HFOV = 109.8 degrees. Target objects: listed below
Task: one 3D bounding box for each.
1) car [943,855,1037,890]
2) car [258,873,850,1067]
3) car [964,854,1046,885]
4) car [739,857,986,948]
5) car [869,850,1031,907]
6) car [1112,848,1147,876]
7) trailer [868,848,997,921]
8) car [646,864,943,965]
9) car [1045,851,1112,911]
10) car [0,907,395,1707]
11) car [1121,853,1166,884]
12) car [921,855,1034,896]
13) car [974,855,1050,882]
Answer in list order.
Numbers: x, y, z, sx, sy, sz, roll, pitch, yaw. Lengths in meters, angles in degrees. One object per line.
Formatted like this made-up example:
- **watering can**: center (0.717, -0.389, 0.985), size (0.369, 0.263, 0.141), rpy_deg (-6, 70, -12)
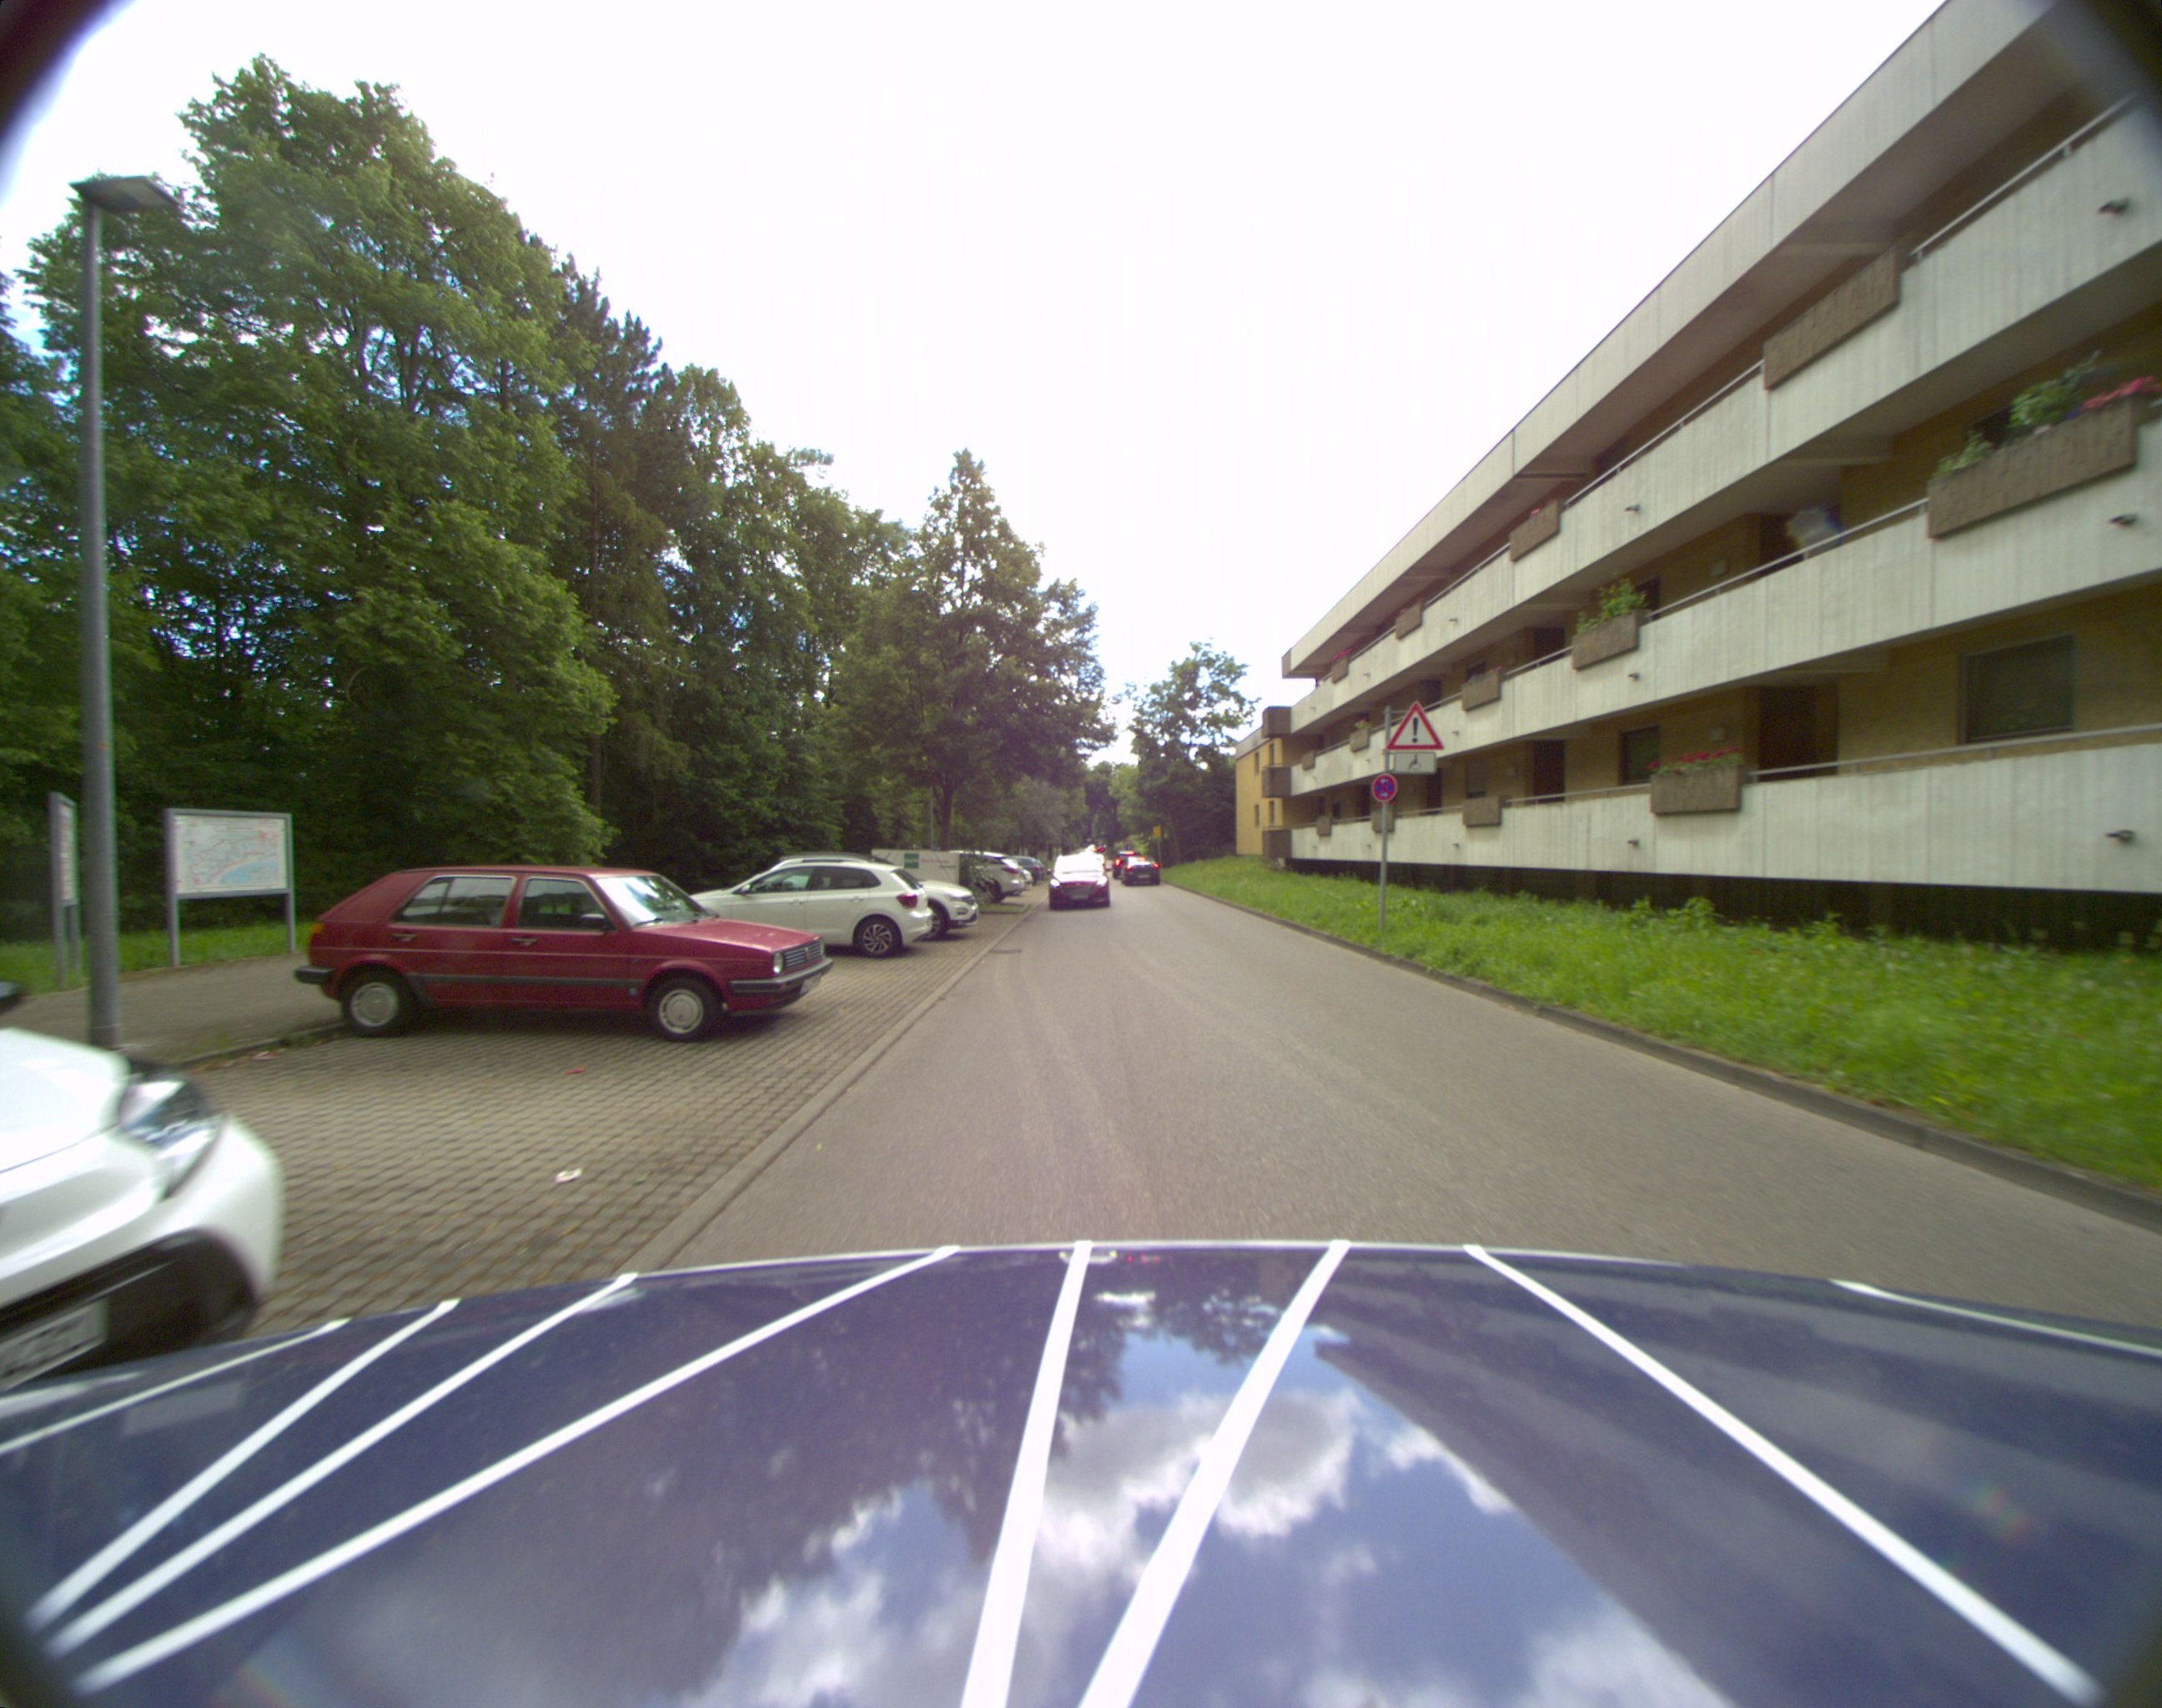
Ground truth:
- **car**: center (-4.144, 0.817, 35.044), size (4.170, 1.561, 1.785), rpy_deg (0, 1, -3)
- **car**: center (-4.405, 0.935, 6.866), size (4.064, 1.414, 1.816), rpy_deg (1, 1, -1)
- **car**: center (-3.964, 0.780, 39.924), size (4.146, 1.561, 1.785), rpy_deg (0, 1, -1)
- **car**: center (-3.953, 0.859, 14.295), size (4.124, 1.539, 1.860), rpy_deg (1, 1, -2)
- **car**: center (-4.191, 0.759, 24.795), size (4.828, 1.683, 1.974), rpy_deg (1, 1, 4)
- **car**: center (3.082, 0.471, 49.029), size (1.918, 1.707, 5.058), rpy_deg (-2, 0, 0)
- **trailer**: center (-3.773, 0.754, 19.627), size (3.037, 1.780, 1.563), rpy_deg (1, 1, -2)
- **car**: center (-4.306, 0.905, 11.965), size (4.020, 1.414, 1.791), rpy_deg (1, 1, -5)
- **car**: center (-0.041, 0.791, 24.839), size (1.918, 1.707, 5.038), rpy_deg (-2, 0, 0)
- **car**: center (-4.033, 0.912, 1.447), size (3.849, 1.507, 1.881), rpy_deg (1, 1, 3)
- **car**: center (3.106, 0.708, 38.754), size (1.918, 1.403, 4.423), rpy_deg (-2, 0, 0)
- **car**: center (-4.052, 0.839, 30.271), size (4.168, 1.561, 1.851), rpy_deg (0, 1, 2)
- **car**: center (-3.836, 0.788, 42.568), size (4.097, 1.455, 1.785), rpy_deg (0, 1, -1)
